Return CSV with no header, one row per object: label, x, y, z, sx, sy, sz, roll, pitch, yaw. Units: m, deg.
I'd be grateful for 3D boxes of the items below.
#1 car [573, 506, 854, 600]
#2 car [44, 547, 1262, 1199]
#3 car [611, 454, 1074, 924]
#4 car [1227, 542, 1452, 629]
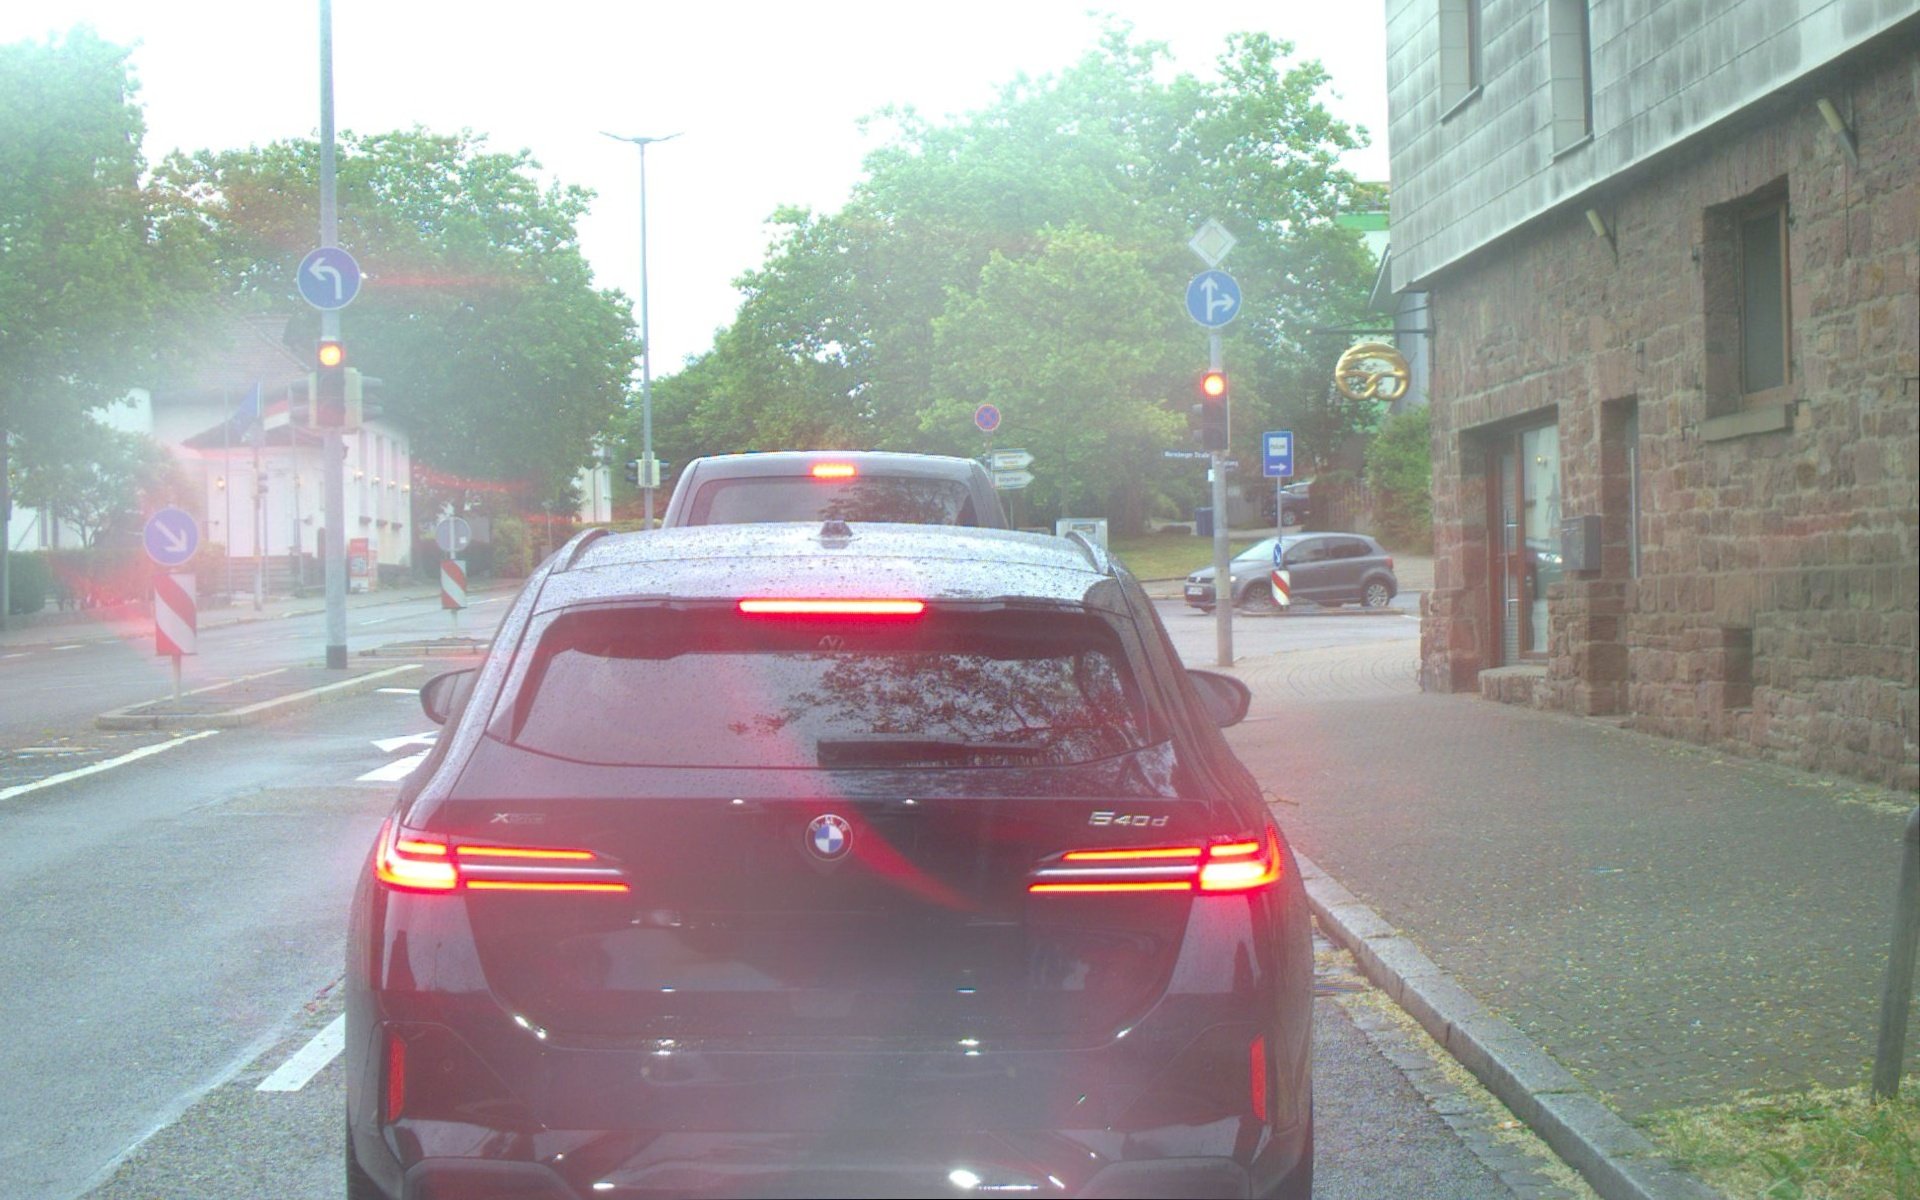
car,-4.287,-0.806,59.605,4.467,1.581,2.072,0,1,-19
car,-0.638,0.611,8.109,2.064,1.441,4.484,0,1,-3
car,-0.547,0.292,15.337,1.783,1.811,4.001,0,1,-3
car,6.781,-0.277,61.645,3.942,1.504,2.000,0,1,5
